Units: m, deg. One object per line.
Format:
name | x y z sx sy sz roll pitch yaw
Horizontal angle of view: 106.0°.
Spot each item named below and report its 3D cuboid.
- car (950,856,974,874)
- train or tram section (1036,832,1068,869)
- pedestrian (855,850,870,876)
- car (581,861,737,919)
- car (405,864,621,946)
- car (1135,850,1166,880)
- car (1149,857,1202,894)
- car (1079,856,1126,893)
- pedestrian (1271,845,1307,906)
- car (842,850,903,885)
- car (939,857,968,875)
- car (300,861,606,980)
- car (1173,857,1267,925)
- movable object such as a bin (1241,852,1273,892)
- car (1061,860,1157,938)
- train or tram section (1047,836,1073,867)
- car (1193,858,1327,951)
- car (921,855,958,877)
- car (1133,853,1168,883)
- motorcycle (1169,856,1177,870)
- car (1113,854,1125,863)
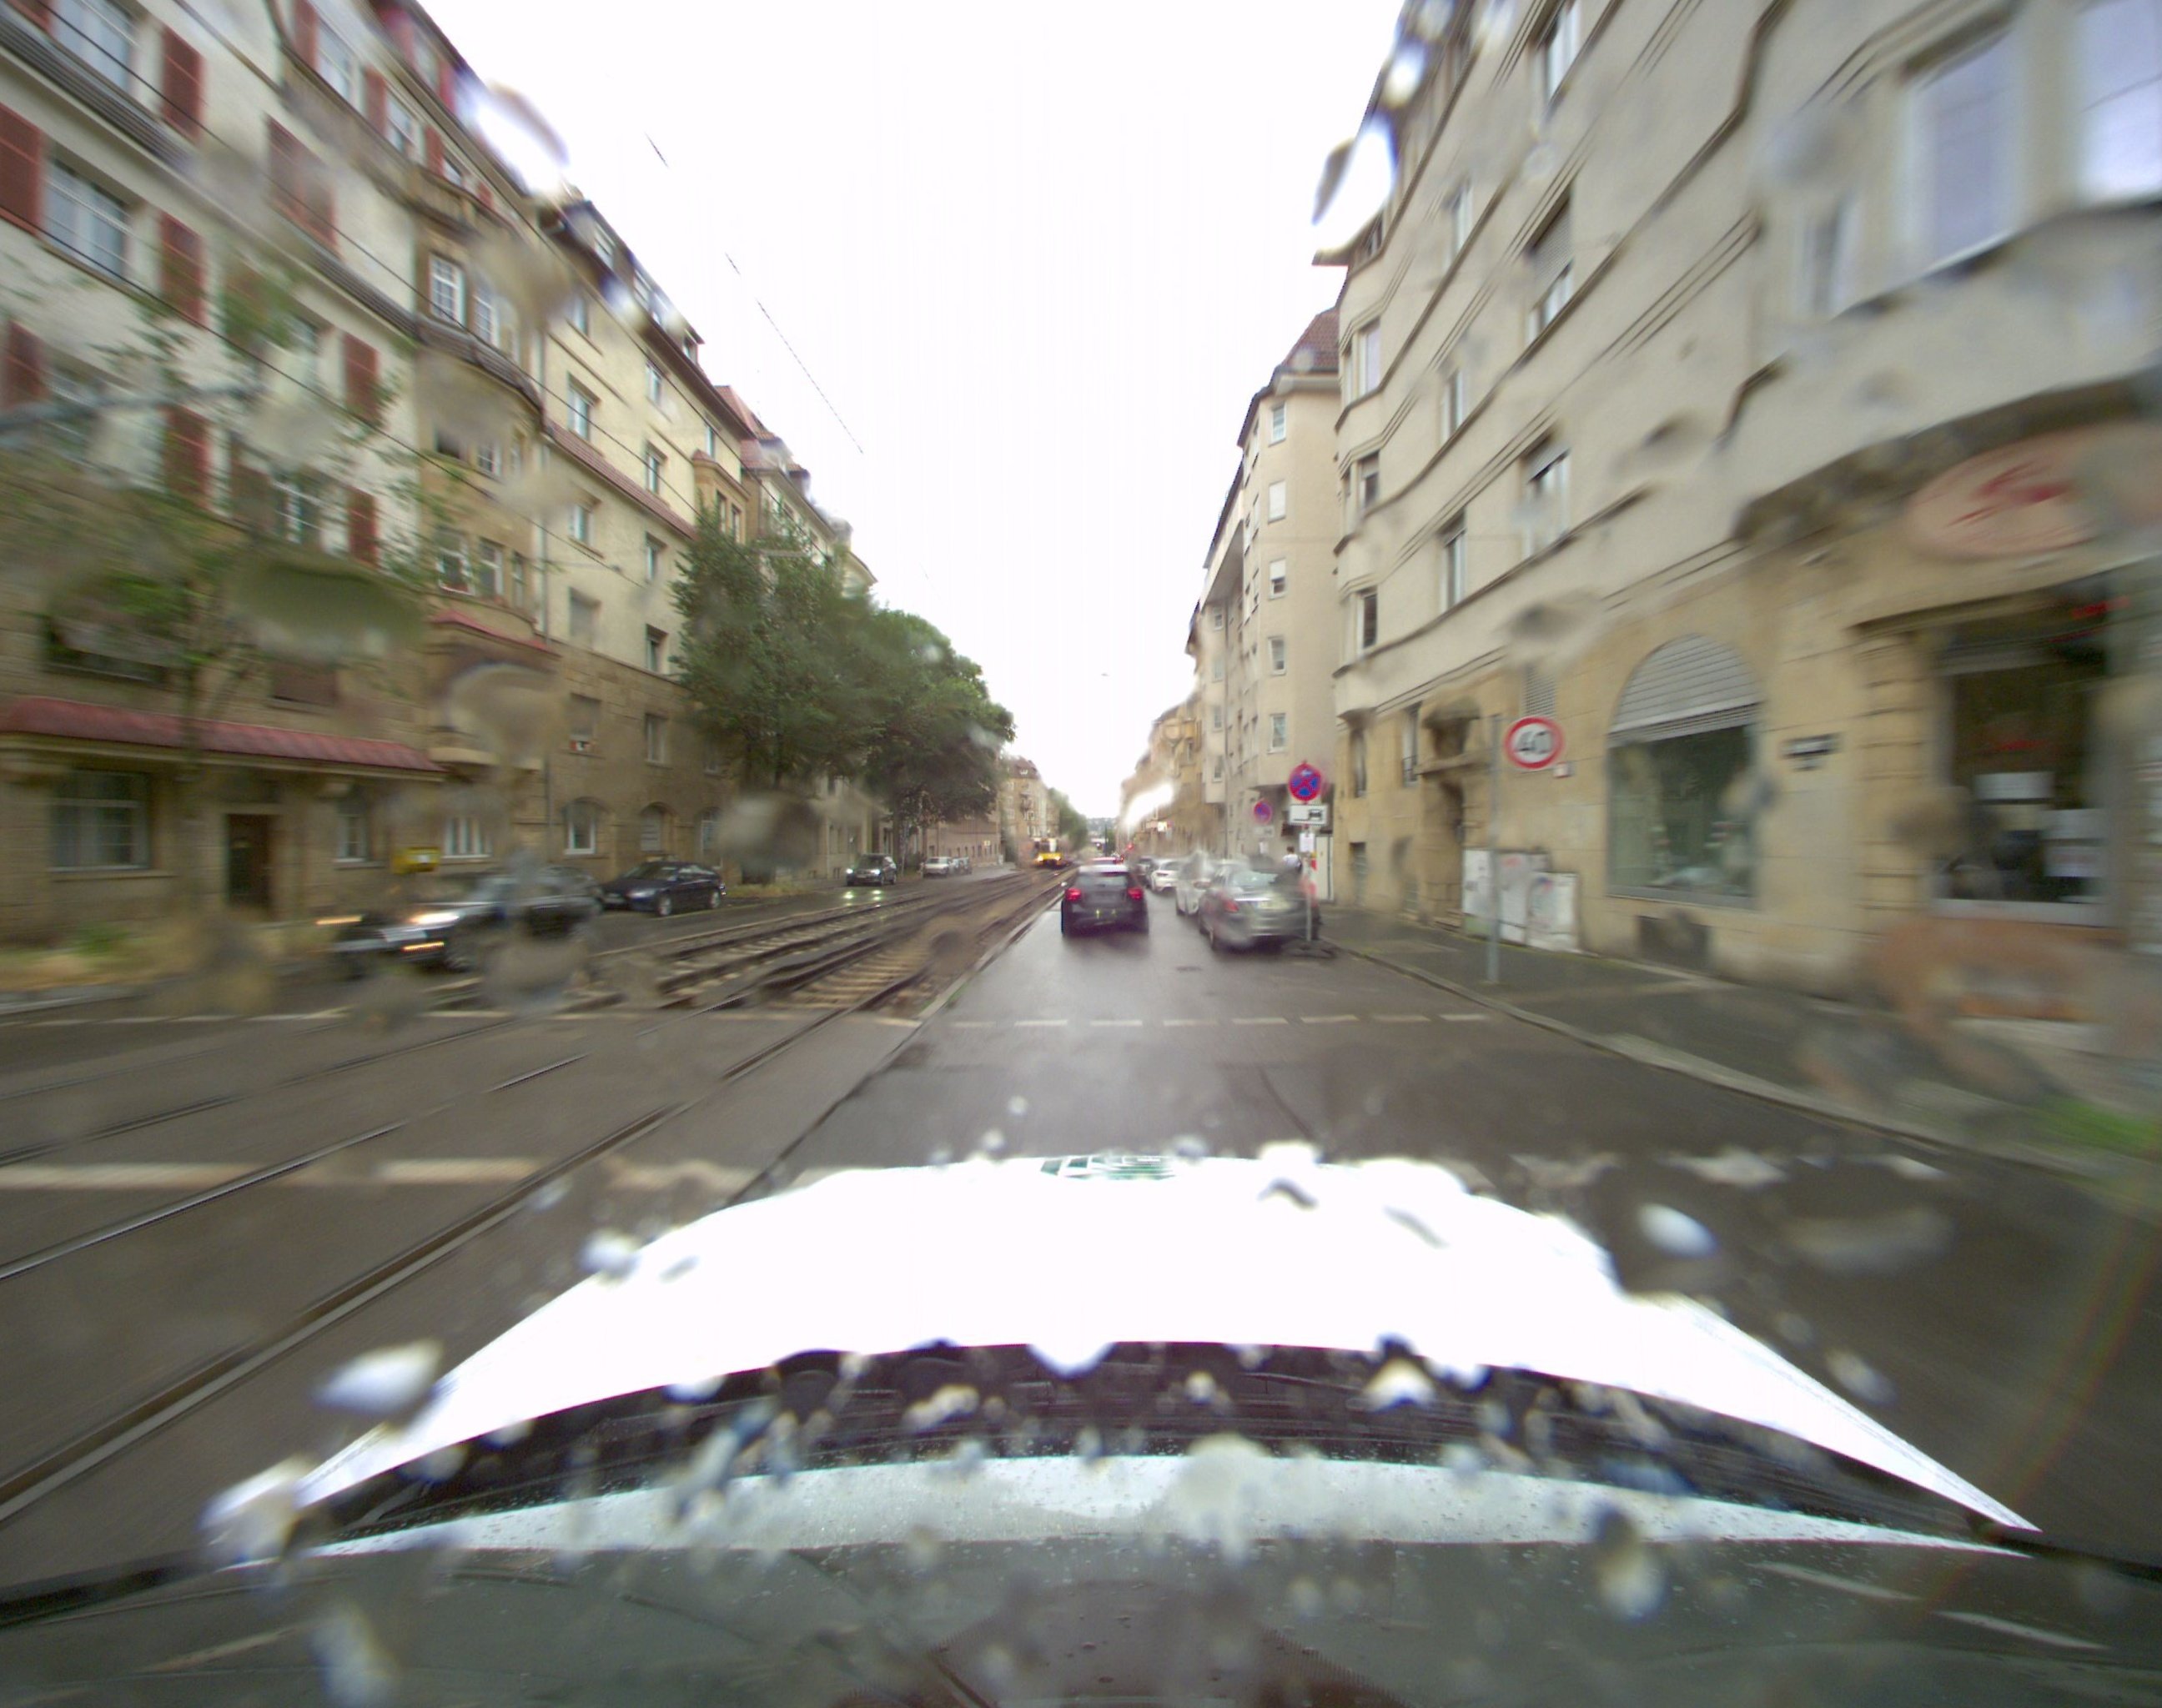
car | -10.203 0.918 70.177 1.567 1.467 3.045 0 0 0
train or tram section | -3.325 -0.411 97.697 2.735 4.061 17.218 -1 0 1
pedestrian | -14.095 0.581 52.478 0.725 1.663 0.771 0 0 1
car | -11.750 0.948 23.134 1.775 1.460 4.978 -1 -1 0
car | -11.987 0.991 17.579 1.684 1.529 4.175 -1 -1 0
car | 4.403 0.705 52.105 1.771 1.750 4.551 -1 -1 3
car | 3.811 0.842 33.452 1.782 1.385 4.396 -1 -1 2
car | 0.983 0.871 36.401 1.986 1.525 4.247 0 0 2
pedestrian | 5.862 0.593 22.959 0.801 1.687 0.754 -1 -1 1
car | -11.183 0.691 44.091 1.946 1.742 4.779 2 0 0
car | -10.382 0.956 66.414 1.660 1.415 3.688 0 0 1
car | -9.252 0.885 12.442 1.647 1.462 3.736 -2 0 2
car | 3.339 0.846 20.392 1.705 1.468 4.776 -1 -1 2
movable object such as a bin | 6.713 0.686 31.161 0.976 1.468 1.273 -1 -1 1
car | 0.614 0.882 17.608 1.827 1.453 3.903 -1 0 2
train or tram section | -2.827 -0.336 113.906 2.735 4.061 15.665 -1 0 1
car | 3.099 0.816 15.027 1.703 1.410 4.822 -1 -1 4
car | -10.597 0.890 61.357 1.954 1.605 4.329 0 0 1
car | 3.924 0.786 46.052 1.833 1.608 4.765 -1 -1 4
motorcycle | 8.491 0.807 74.879 0.554 1.160 2.271 -5 0 4
car | 6.788 0.787 145.026 1.879 1.525 4.250 0 0 4
